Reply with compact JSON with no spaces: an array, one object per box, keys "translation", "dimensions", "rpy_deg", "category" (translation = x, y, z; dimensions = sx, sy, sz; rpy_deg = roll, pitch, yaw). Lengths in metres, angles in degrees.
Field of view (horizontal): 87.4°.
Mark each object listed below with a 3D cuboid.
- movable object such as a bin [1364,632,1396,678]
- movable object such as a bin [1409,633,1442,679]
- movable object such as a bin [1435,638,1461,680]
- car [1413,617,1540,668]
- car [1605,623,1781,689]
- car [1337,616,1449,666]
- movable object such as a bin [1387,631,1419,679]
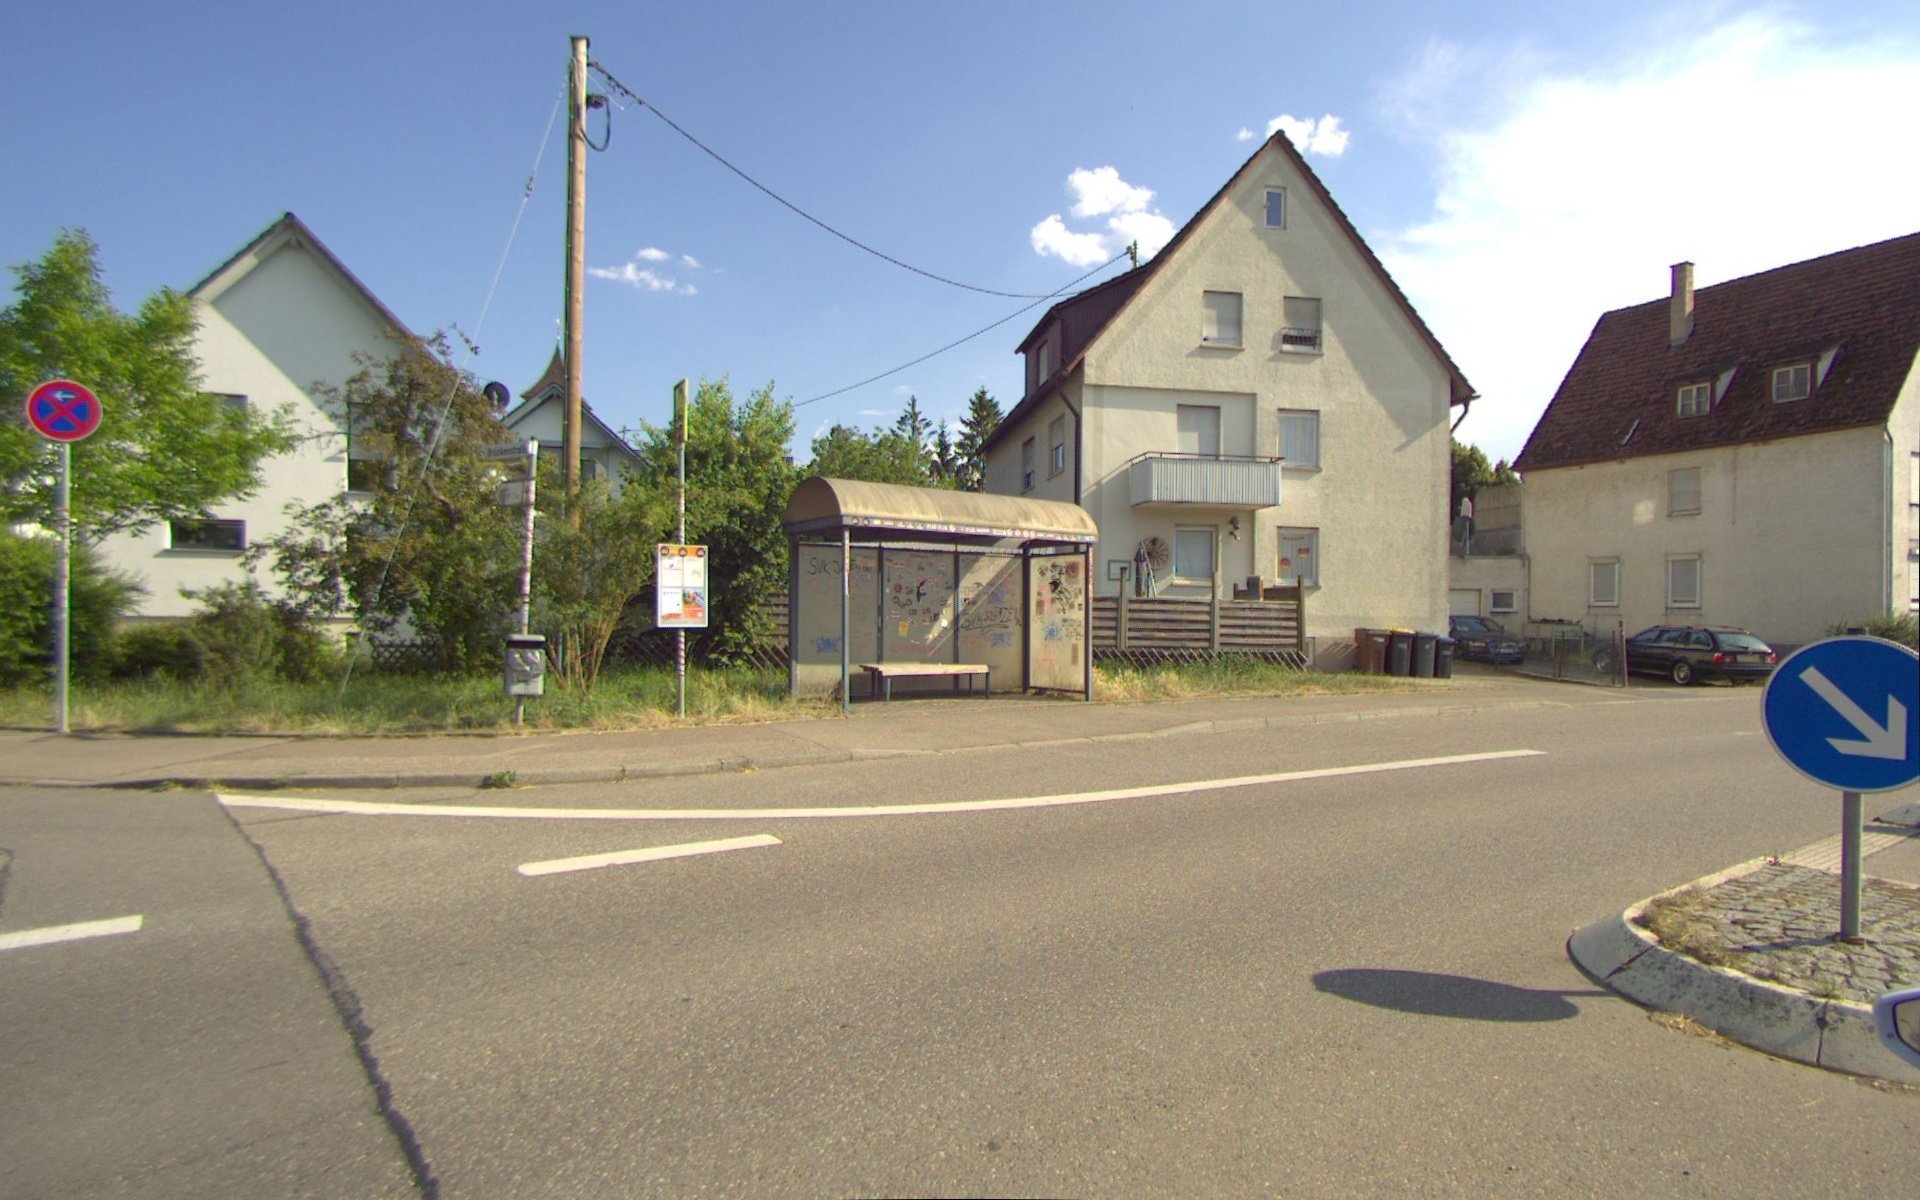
[{"translation":[9.618,1.261,22.987],"dimensions":[0.548,1.029,0.361],"rpy_deg":[2,-1,-12],"category":"movable object such as a bin"},{"translation":[10.785,1.286,23.256],"dimensions":[0.567,1.036,0.361],"rpy_deg":[2,-1,-12],"category":"movable object such as a bin"},{"translation":[11.333,1.363,23.312],"dimensions":[0.393,0.937,0.361],"rpy_deg":[2,-1,-12],"category":"movable object such as a bin"},{"translation":[16.186,1.294,31.701],"dimensions":[1.654,1.379,3.996],"rpy_deg":[1,0,-6],"category":"car"},{"translation":[18.826,1.377,26.042],"dimensions":[1.620,1.452,3.999],"rpy_deg":[1,0,0],"category":"car"},{"translation":[14.204,1.302,33.178],"dimensions":[1.654,1.432,3.996],"rpy_deg":[1,0,-6],"category":"car"},{"translation":[10.171,1.262,23.082],"dimensions":[0.548,1.055,0.361],"rpy_deg":[2,-1,-12],"category":"movable object such as a bin"}]
